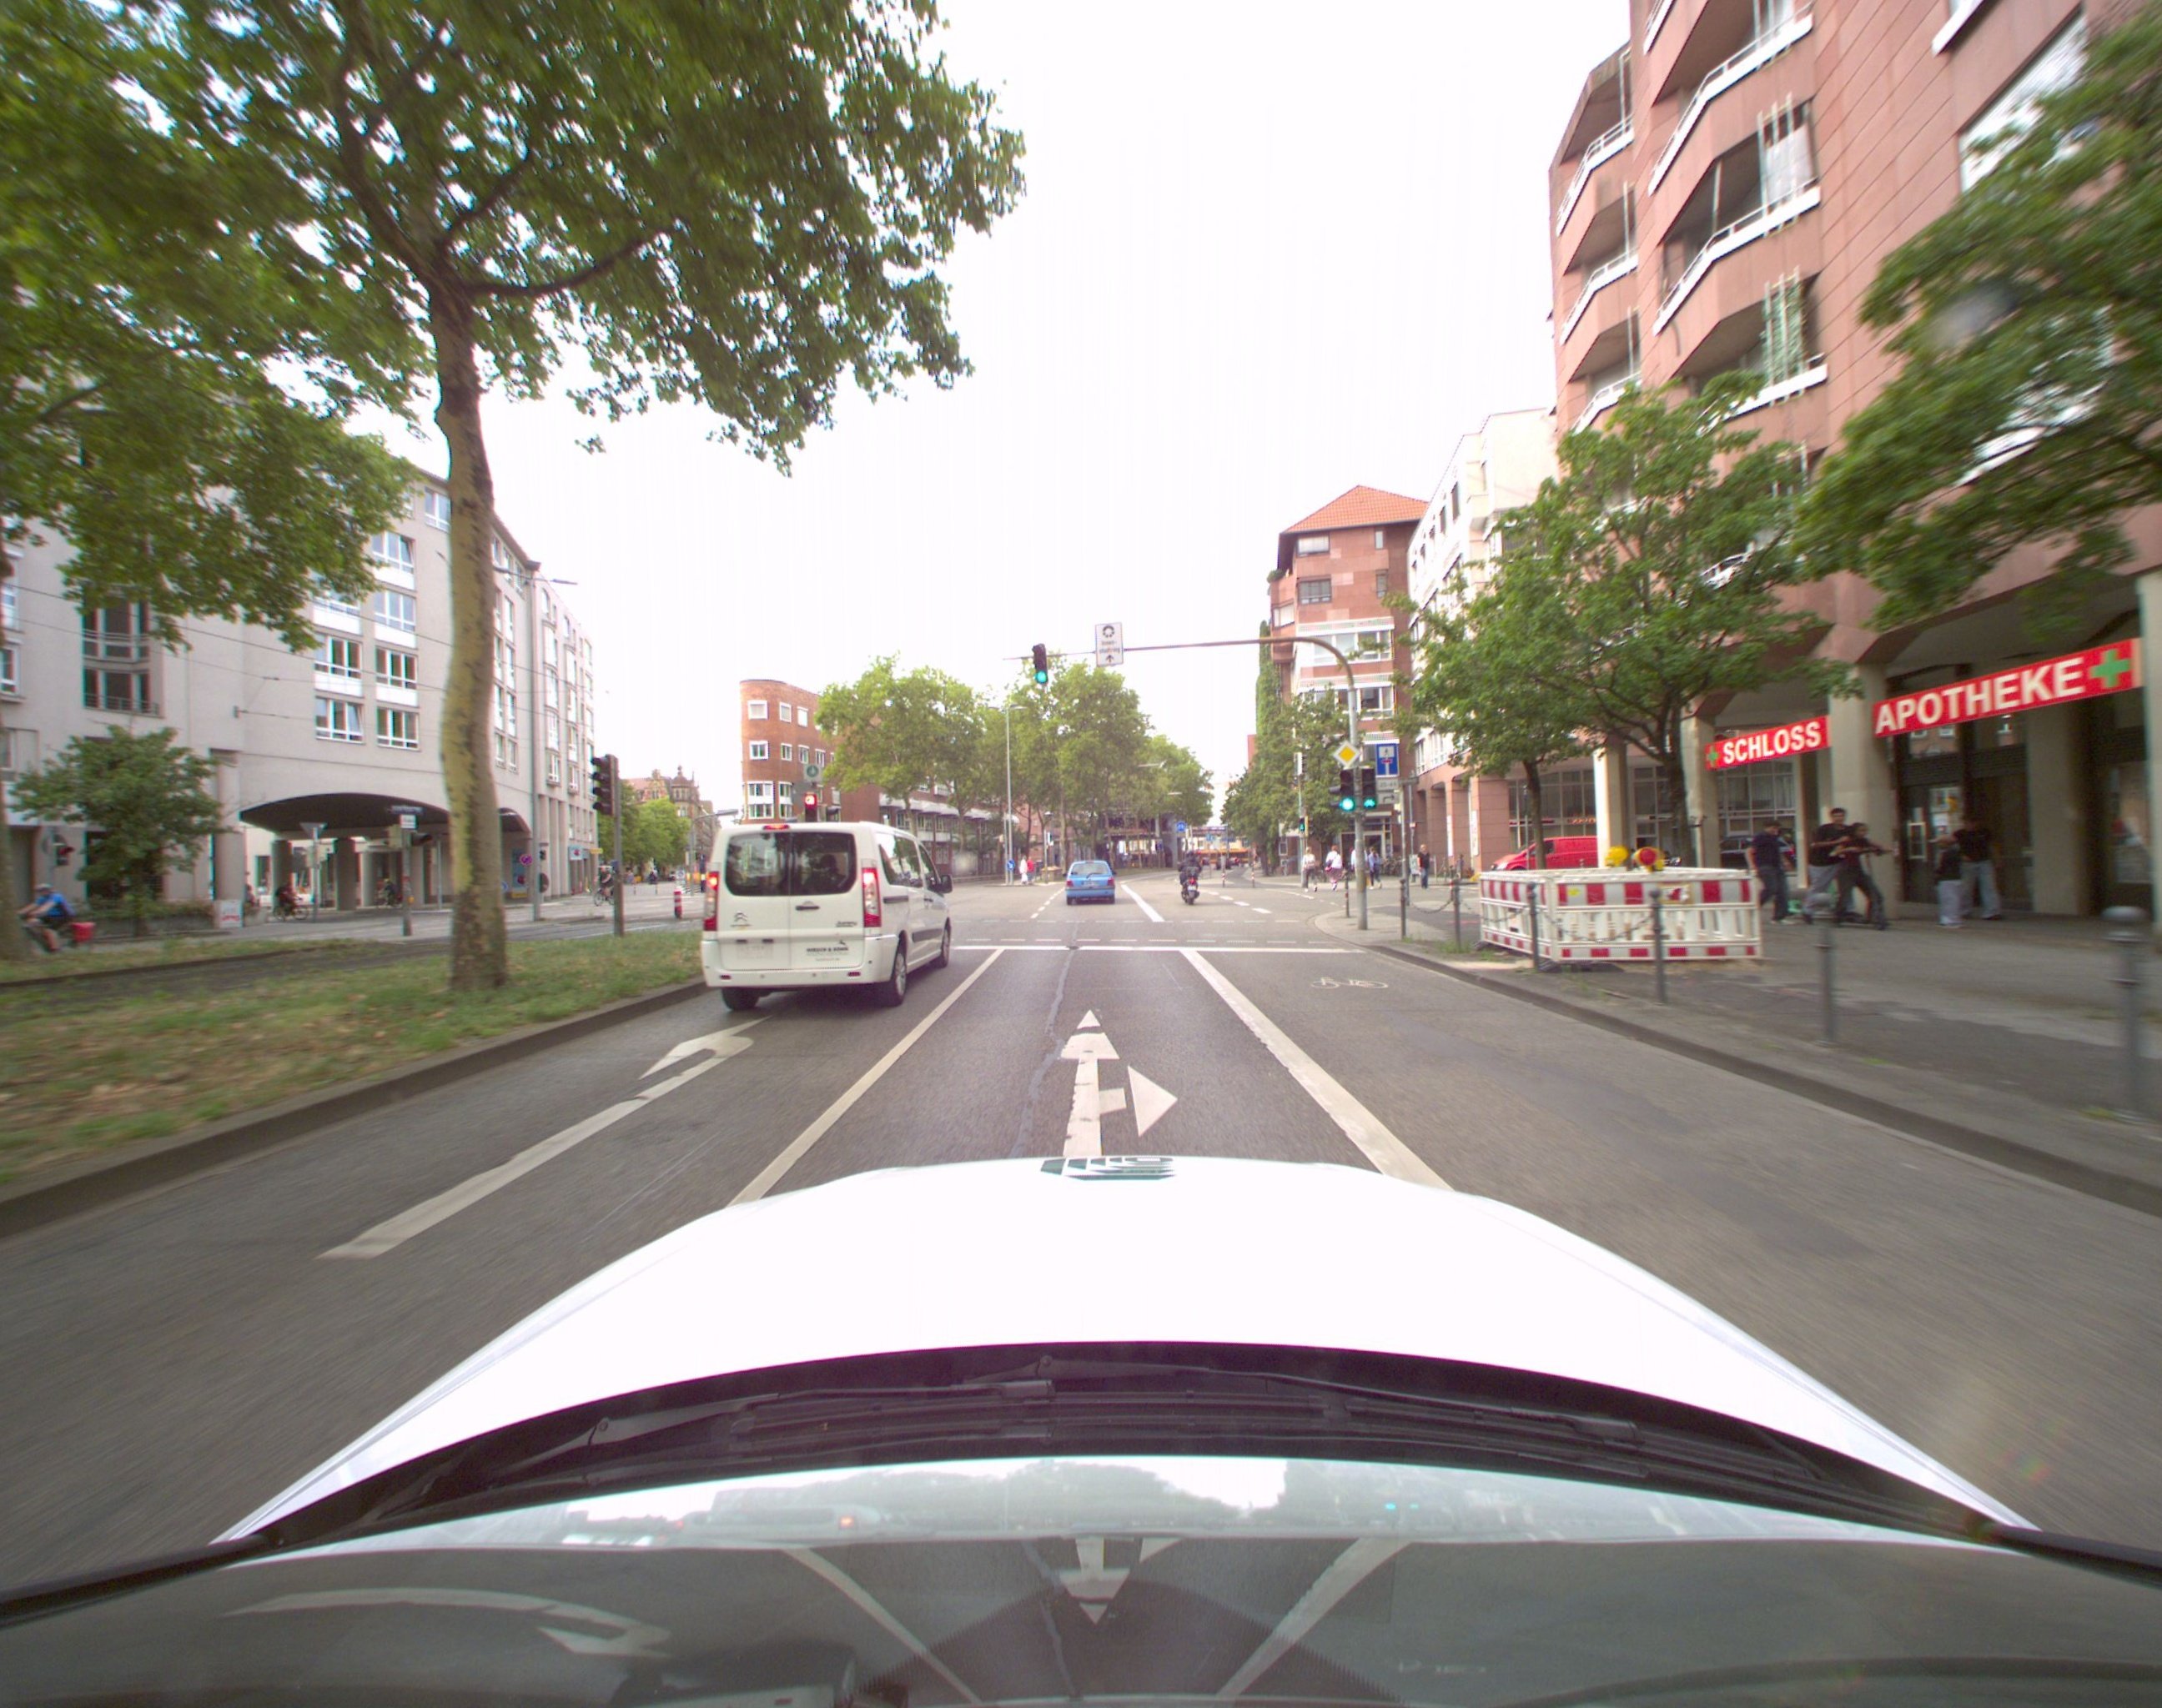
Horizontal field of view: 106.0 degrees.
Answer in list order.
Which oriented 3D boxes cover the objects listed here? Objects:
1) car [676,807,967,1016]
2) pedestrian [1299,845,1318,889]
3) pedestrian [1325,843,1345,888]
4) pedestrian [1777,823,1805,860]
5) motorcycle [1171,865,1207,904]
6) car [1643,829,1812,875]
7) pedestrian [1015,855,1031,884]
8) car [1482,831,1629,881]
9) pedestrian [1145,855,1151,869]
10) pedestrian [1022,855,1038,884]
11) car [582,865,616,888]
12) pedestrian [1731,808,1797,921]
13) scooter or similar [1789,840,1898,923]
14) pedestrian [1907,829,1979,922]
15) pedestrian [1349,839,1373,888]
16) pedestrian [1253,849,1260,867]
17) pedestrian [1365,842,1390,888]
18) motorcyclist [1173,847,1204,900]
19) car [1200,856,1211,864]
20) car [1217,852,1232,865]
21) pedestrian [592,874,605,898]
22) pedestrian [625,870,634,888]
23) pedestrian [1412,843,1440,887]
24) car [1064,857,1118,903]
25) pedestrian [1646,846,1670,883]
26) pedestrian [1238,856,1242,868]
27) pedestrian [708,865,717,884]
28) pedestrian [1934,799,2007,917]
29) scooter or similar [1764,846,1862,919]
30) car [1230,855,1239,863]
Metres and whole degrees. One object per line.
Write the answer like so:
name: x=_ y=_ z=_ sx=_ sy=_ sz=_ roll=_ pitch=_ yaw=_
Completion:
car: x=-2.827 y=0.547 z=10.260 sx=1.925 sy=1.925 sz=4.956 roll=-2 pitch=0 yaw=1
pedestrian: x=8.454 y=0.485 z=30.249 sx=0.514 sy=1.616 sz=0.852 roll=-2 pitch=-1 yaw=6
pedestrian: x=9.386 y=0.431 z=30.073 sx=0.514 sy=1.616 sz=0.852 roll=-2 pitch=-1 yaw=8
pedestrian: x=31.423 y=-0.542 z=36.065 sx=0.646 sy=1.579 sz=0.677 roll=-2 pitch=-1 yaw=10
motorcycle: x=3.242 y=0.893 z=24.610 sx=0.765 sy=1.107 sz=2.208 roll=-2 pitch=-1 yaw=1
car: x=25.357 y=-0.028 z=32.142 sx=4.793 sy=1.590 sz=2.007 roll=-2 pitch=-2 yaw=13
pedestrian: x=-3.411 y=0.903 z=48.044 sx=0.548 sy=1.718 sz=0.895 roll=-2 pitch=-1 yaw=18
car: x=19.300 y=0.135 z=33.365 sx=4.793 sy=1.826 sz=2.007 roll=-2 pitch=-2 yaw=13
pedestrian: x=9.190 y=1.127 z=111.812 sx=0.723 sy=1.859 sz=0.873 roll=-2 pitch=-1 yaw=13
pedestrian: x=-3.067 y=0.911 z=48.945 sx=0.547 sy=1.718 sz=0.896 roll=-2 pitch=-1 yaw=28
car: x=-43.706 y=2.039 z=73.917 sx=2.003 sy=1.937 sz=4.906 roll=-2 pitch=-1 yaw=-24
pedestrian: x=11.289 y=0.173 z=13.477 sx=0.548 sy=1.799 sz=0.660 roll=-2 pitch=-1 yaw=12
scooter or similar: x=11.690 y=0.406 z=12.537 sx=0.471 sy=1.206 sz=1.332 roll=-2 pitch=-1 yaw=5
pedestrian: x=12.644 y=0.314 z=11.954 sx=0.485 sy=1.324 sz=0.484 roll=-2 pitch=-1 yaw=-2
pedestrian: x=10.579 y=0.357 z=30.778 sx=0.672 sy=1.828 sz=0.852 roll=-2 pitch=-1 yaw=8
pedestrian: x=18.439 y=0.404 z=85.682 sx=0.642 sy=1.859 sz=0.785 roll=-2 pitch=-1 yaw=11
pedestrian: x=11.221 y=0.411 z=30.876 sx=0.648 sy=1.701 sz=1.024 roll=-2 pitch=-1 yaw=9
motorcyclist: x=3.228 y=0.579 z=24.511 sx=0.757 sy=1.519 sz=1.017 roll=-2 pitch=-1 yaw=0
car: x=25.527 y=1.155 z=166.979 sx=1.873 sy=1.624 sz=4.014 roll=-2 pitch=-1 yaw=13
car: x=18.674 y=0.544 z=106.105 sx=1.687 sy=1.601 sz=4.014 roll=-2 pitch=0 yaw=13
pedestrian: x=-34.055 y=2.274 z=57.515 sx=0.677 sy=1.679 sz=0.746 roll=-2 pitch=-1 yaw=-26
pedestrian: x=-43.038 y=2.376 z=77.662 sx=0.696 sy=1.671 sz=0.825 roll=-1 pitch=-1 yaw=-25
pedestrian: x=12.466 y=0.406 z=29.422 sx=0.671 sy=1.538 sz=0.949 roll=-2 pitch=-1 yaw=9
car: x=0.374 y=0.827 z=27.330 sx=1.634 sy=1.386 sz=3.844 roll=-1 pitch=0 yaw=2
pedestrian: x=25.489 y=0.457 z=36.002 sx=0.646 sy=1.579 sz=0.581 roll=-2 pitch=-1 yaw=11
pedestrian: x=24.508 y=1.236 z=125.684 sx=0.506 sy=1.759 sz=0.541 roll=-2 pitch=-1 yaw=12
pedestrian: x=-35.126 y=1.972 z=77.602 sx=0.696 sy=1.817 sz=0.650 roll=-1 pitch=-1 yaw=-26
pedestrian: x=13.902 y=0.065 z=12.747 sx=0.546 sy=1.799 sz=0.661 roll=-2 pitch=-1 yaw=31
scooter or similar: x=12.369 y=0.459 z=13.810 sx=0.550 sy=1.170 sz=1.410 roll=-2 pitch=-1 yaw=10
car: x=30.514 y=0.975 z=161.878 sx=1.687 sy=1.601 sz=4.014 roll=-2 pitch=0 yaw=13
